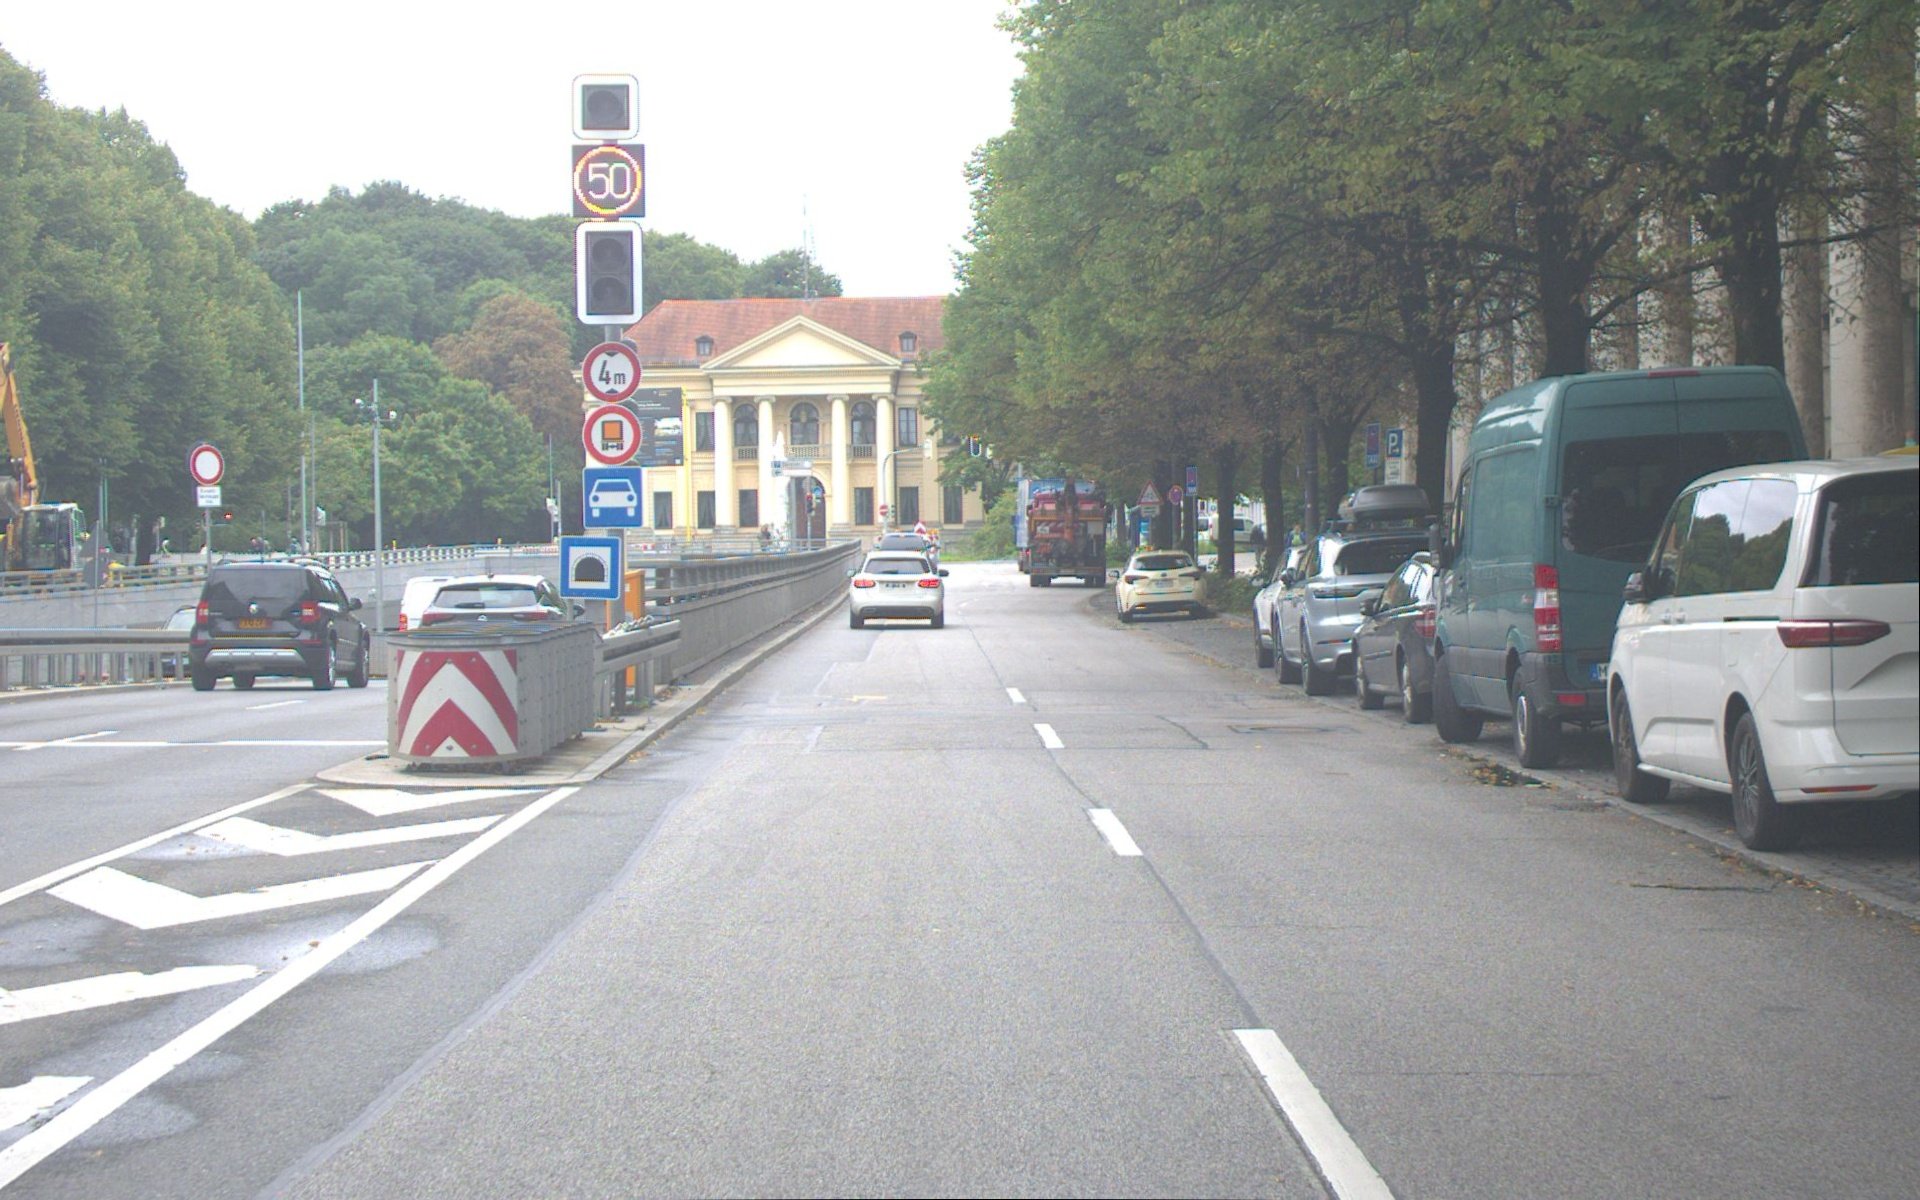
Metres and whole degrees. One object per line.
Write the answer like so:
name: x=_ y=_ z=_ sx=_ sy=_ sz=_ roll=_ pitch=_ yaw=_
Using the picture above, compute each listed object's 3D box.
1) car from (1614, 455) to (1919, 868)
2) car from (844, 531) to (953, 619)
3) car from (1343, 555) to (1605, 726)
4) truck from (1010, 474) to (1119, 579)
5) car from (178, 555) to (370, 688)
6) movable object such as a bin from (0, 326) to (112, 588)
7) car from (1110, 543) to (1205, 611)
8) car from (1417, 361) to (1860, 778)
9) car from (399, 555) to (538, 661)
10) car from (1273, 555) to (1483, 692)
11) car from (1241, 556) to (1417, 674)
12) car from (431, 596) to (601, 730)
car: x=4.600 y=0.230 z=17.598 sx=1.724 sy=1.861 sz=4.028 roll=-1 pitch=1 yaw=0
car: x=-1.221 y=-0.505 z=66.124 sx=1.779 sy=1.639 sz=4.001 roll=0 pitch=1 yaw=-5
car: x=4.498 y=0.313 z=30.582 sx=1.724 sy=1.359 sz=4.028 roll=-1 pitch=1 yaw=0
truck: x=3.438 y=-2.454 z=115.425 sx=3.325 sy=3.355 sz=8.663 roll=1 pitch=1 yaw=0
car: x=-8.977 y=0.244 z=45.268 sx=1.722 sy=1.631 sz=4.205 roll=-1 pitch=1 yaw=-1
movable object such as a bin: x=-23.742 y=-3.616 z=88.202 sx=2.699 sy=6.488 sz=5.176 roll=1 pitch=1 yaw=0
car: x=4.064 y=-0.498 z=71.289 sx=1.724 sy=1.319 sz=4.028 roll=-1 pitch=1 yaw=0
car: x=4.640 y=-0.243 z=24.300 sx=1.993 sy=2.634 sz=4.878 roll=1 pitch=1 yaw=-2
car: x=-9.014 y=0.111 z=63.445 sx=1.898 sy=1.841 sz=4.956 roll=-1 pitch=1 yaw=-1
car: x=4.370 y=0.210 z=36.440 sx=1.724 sy=1.319 sz=4.028 roll=-1 pitch=1 yaw=0
car: x=4.474 y=0.148 z=42.165 sx=1.724 sy=1.319 sz=4.028 roll=-1 pitch=1 yaw=0
car: x=-5.652 y=0.769 z=44.115 sx=1.710 sy=1.546 sz=4.000 roll=1 pitch=1 yaw=-1
